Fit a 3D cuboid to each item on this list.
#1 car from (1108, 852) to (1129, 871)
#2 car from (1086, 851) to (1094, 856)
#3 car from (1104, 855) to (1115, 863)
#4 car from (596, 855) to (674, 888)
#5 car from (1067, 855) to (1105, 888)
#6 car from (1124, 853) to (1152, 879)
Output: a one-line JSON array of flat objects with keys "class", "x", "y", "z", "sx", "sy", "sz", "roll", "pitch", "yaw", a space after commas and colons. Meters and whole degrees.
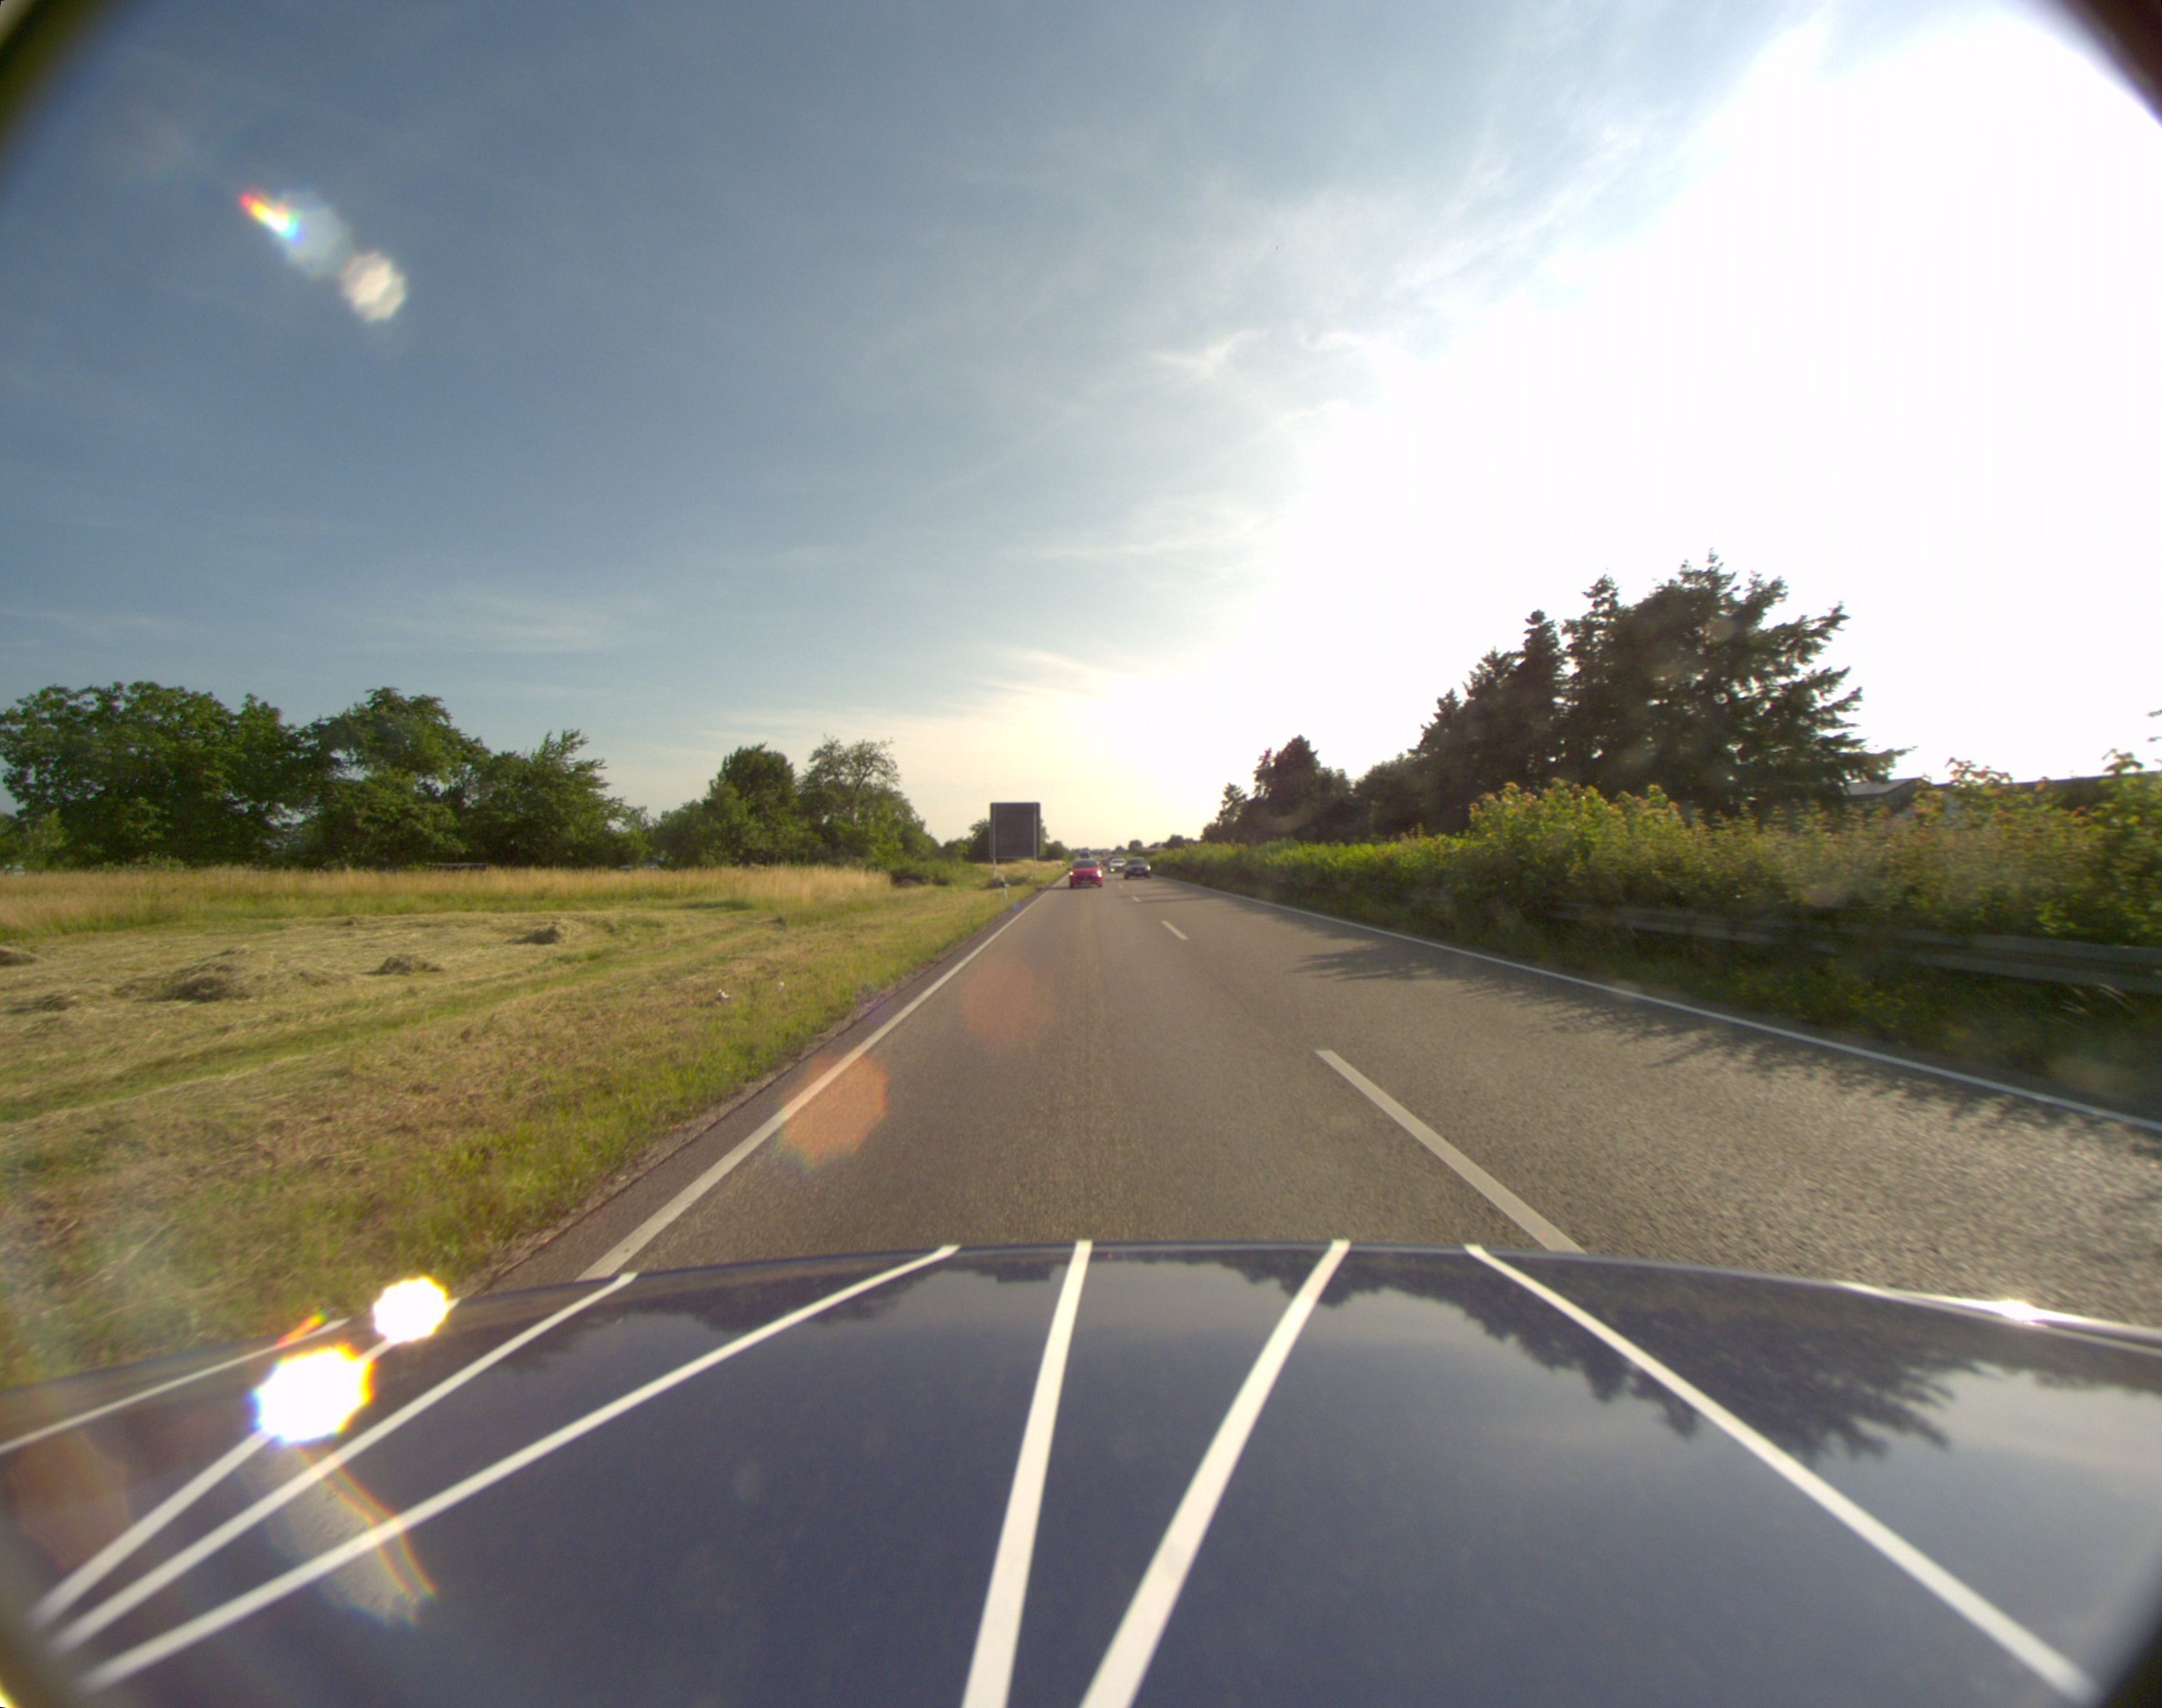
[{"class": "car", "x": 3.828, "y": 0.758, "z": 78.586, "sx": 1.998, "sy": 1.762, "sz": 4.000, "roll": -2, "pitch": 0, "yaw": 2}, {"class": "car", "x": 2.510, "y": -0.109, "z": 214.720, "sx": 1.998, "sy": 1.412, "sz": 4.000, "roll": -2, "pitch": 0, "yaw": 2}, {"class": "car", "x": 5.147, "y": 0.897, "z": 138.974, "sx": 1.998, "sy": 1.412, "sz": 4.000, "roll": -2, "pitch": 0, "yaw": 2}, {"class": "car", "x": -25.225, "y": 0.953, "z": 43.133, "sx": 1.998, "sy": 1.739, "sz": 4.000, "roll": -2, "pitch": 0, "yaw": 0}, {"class": "car", "x": 0.304, "y": 0.874, "z": 40.083, "sx": 1.821, "sy": 1.565, "sz": 4.000, "roll": -2, "pitch": 0, "yaw": 2}, {"class": "car", "x": 3.909, "y": 0.825, "z": 52.886, "sx": 1.693, "sy": 1.695, "sz": 4.000, "roll": -2, "pitch": 0, "yaw": 1}]
